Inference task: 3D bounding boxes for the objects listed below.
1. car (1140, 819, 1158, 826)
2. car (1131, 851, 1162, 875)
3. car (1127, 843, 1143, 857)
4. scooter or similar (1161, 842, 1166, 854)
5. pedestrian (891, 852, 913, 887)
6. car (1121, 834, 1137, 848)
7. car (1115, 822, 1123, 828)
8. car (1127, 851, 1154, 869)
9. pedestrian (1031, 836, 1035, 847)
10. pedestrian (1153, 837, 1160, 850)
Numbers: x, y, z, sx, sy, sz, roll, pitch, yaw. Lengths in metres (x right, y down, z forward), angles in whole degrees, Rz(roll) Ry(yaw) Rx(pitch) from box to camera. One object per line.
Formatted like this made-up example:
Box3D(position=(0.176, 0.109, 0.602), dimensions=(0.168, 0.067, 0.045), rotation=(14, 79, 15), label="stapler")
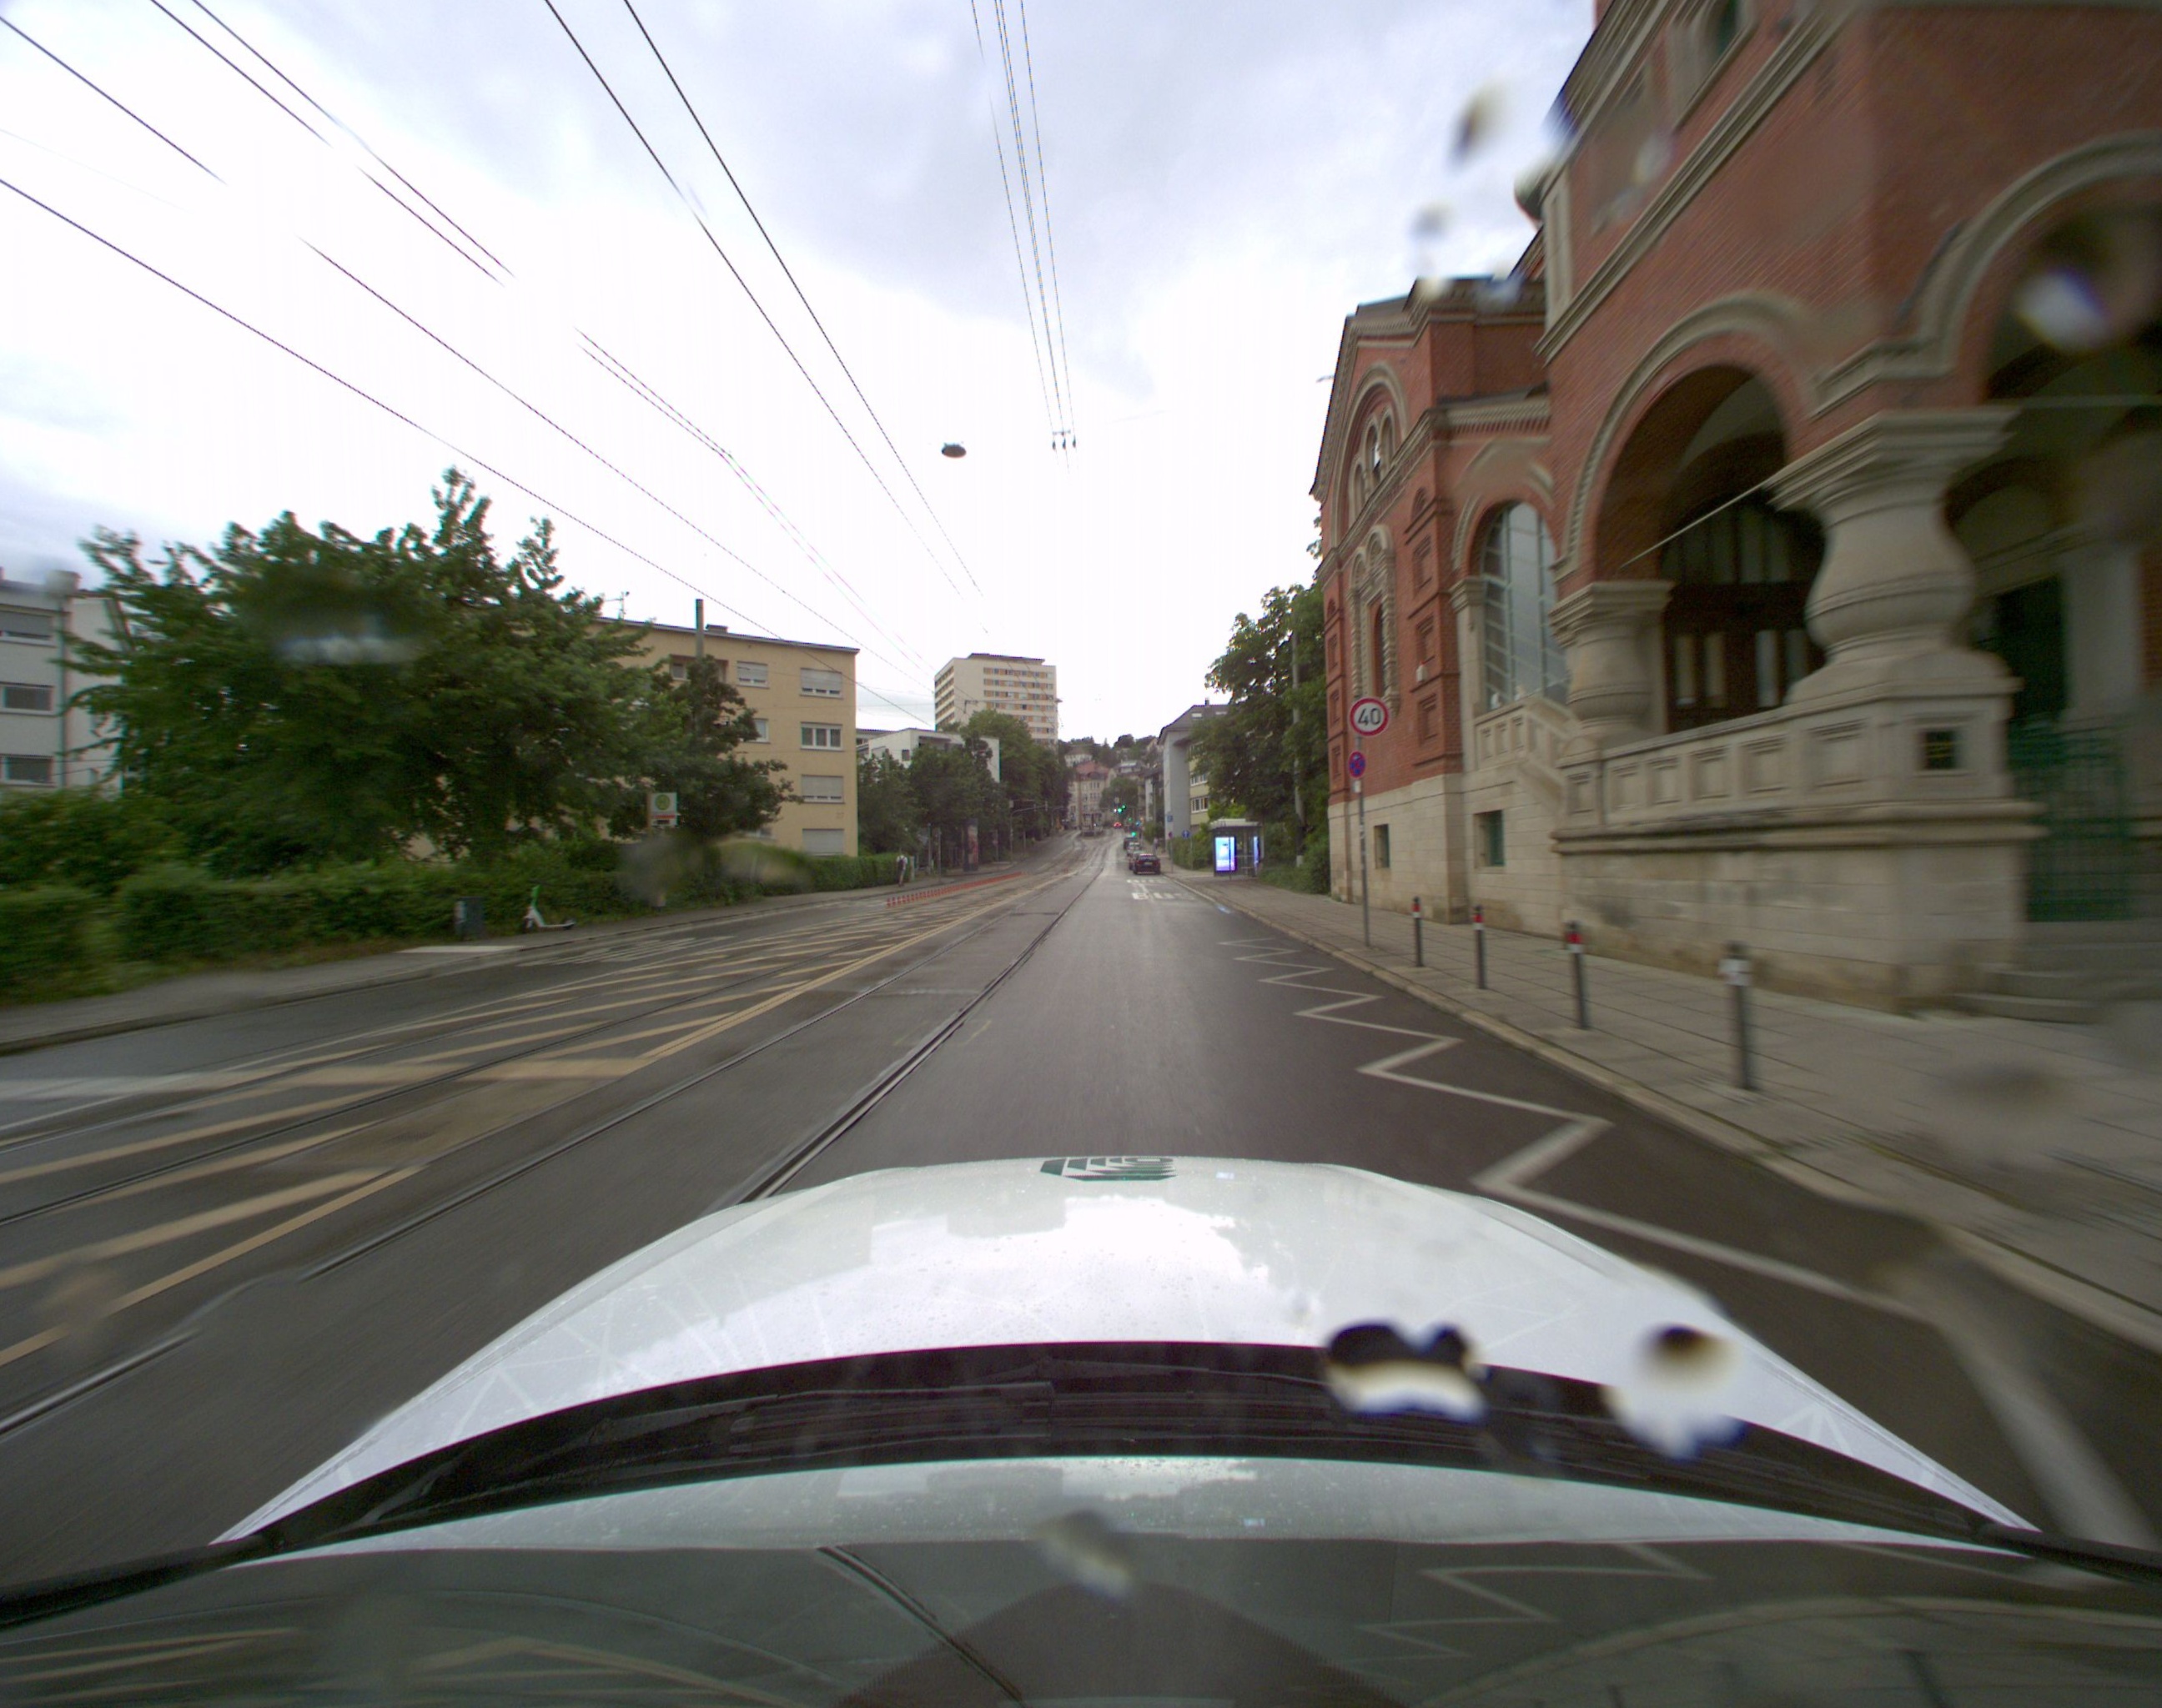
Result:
Box3D(position=(15.942, -7.459, 191.688), dimensions=(4.016, 1.645, 1.788), rotation=(-1, 1, -35), label="car")
Box3D(position=(4.541, 0.593, 56.974), dimensions=(1.851, 1.487, 4.646), rotation=(-3, 0, 1), label="car")
Box3D(position=(6.124, -0.513, 93.289), dimensions=(1.698, 1.433, 4.104), rotation=(0, 3, 2), label="car")
Box3D(position=(9.529, -0.723, 93.923), dimensions=(0.571, 1.249, 1.614), rotation=(0, 5, 8), label="scooter or similar")
Box3D(position=(-9.445, 0.816, 42.986), dimensions=(0.917, 1.846, 1.016), rotation=(1, -1, -3), label="pedestrian")
Box3D(position=(6.446, -1.776, 109.554), dimensions=(1.899, 1.641, 4.692), rotation=(0, 3, 2), label="car")
Box3D(position=(10.480, -8.031, 225.130), dimensions=(1.899, 1.641, 4.692), rotation=(0, 3, 2), label="car")
Box3D(position=(4.964, 0.517, 68.439), dimensions=(1.933, 1.464, 4.206), rotation=(0, 0, 0), label="car")
Box3D(position=(-7.275, -1.836, 123.073), dimensions=(0.581, 1.600, 0.869), rotation=(1, 2, -1), label="pedestrian")
Box3D(position=(9.601, -1.296, 103.244), dimensions=(0.878, 1.582, 0.803), rotation=(-2, 4, 4), label="pedestrian")
